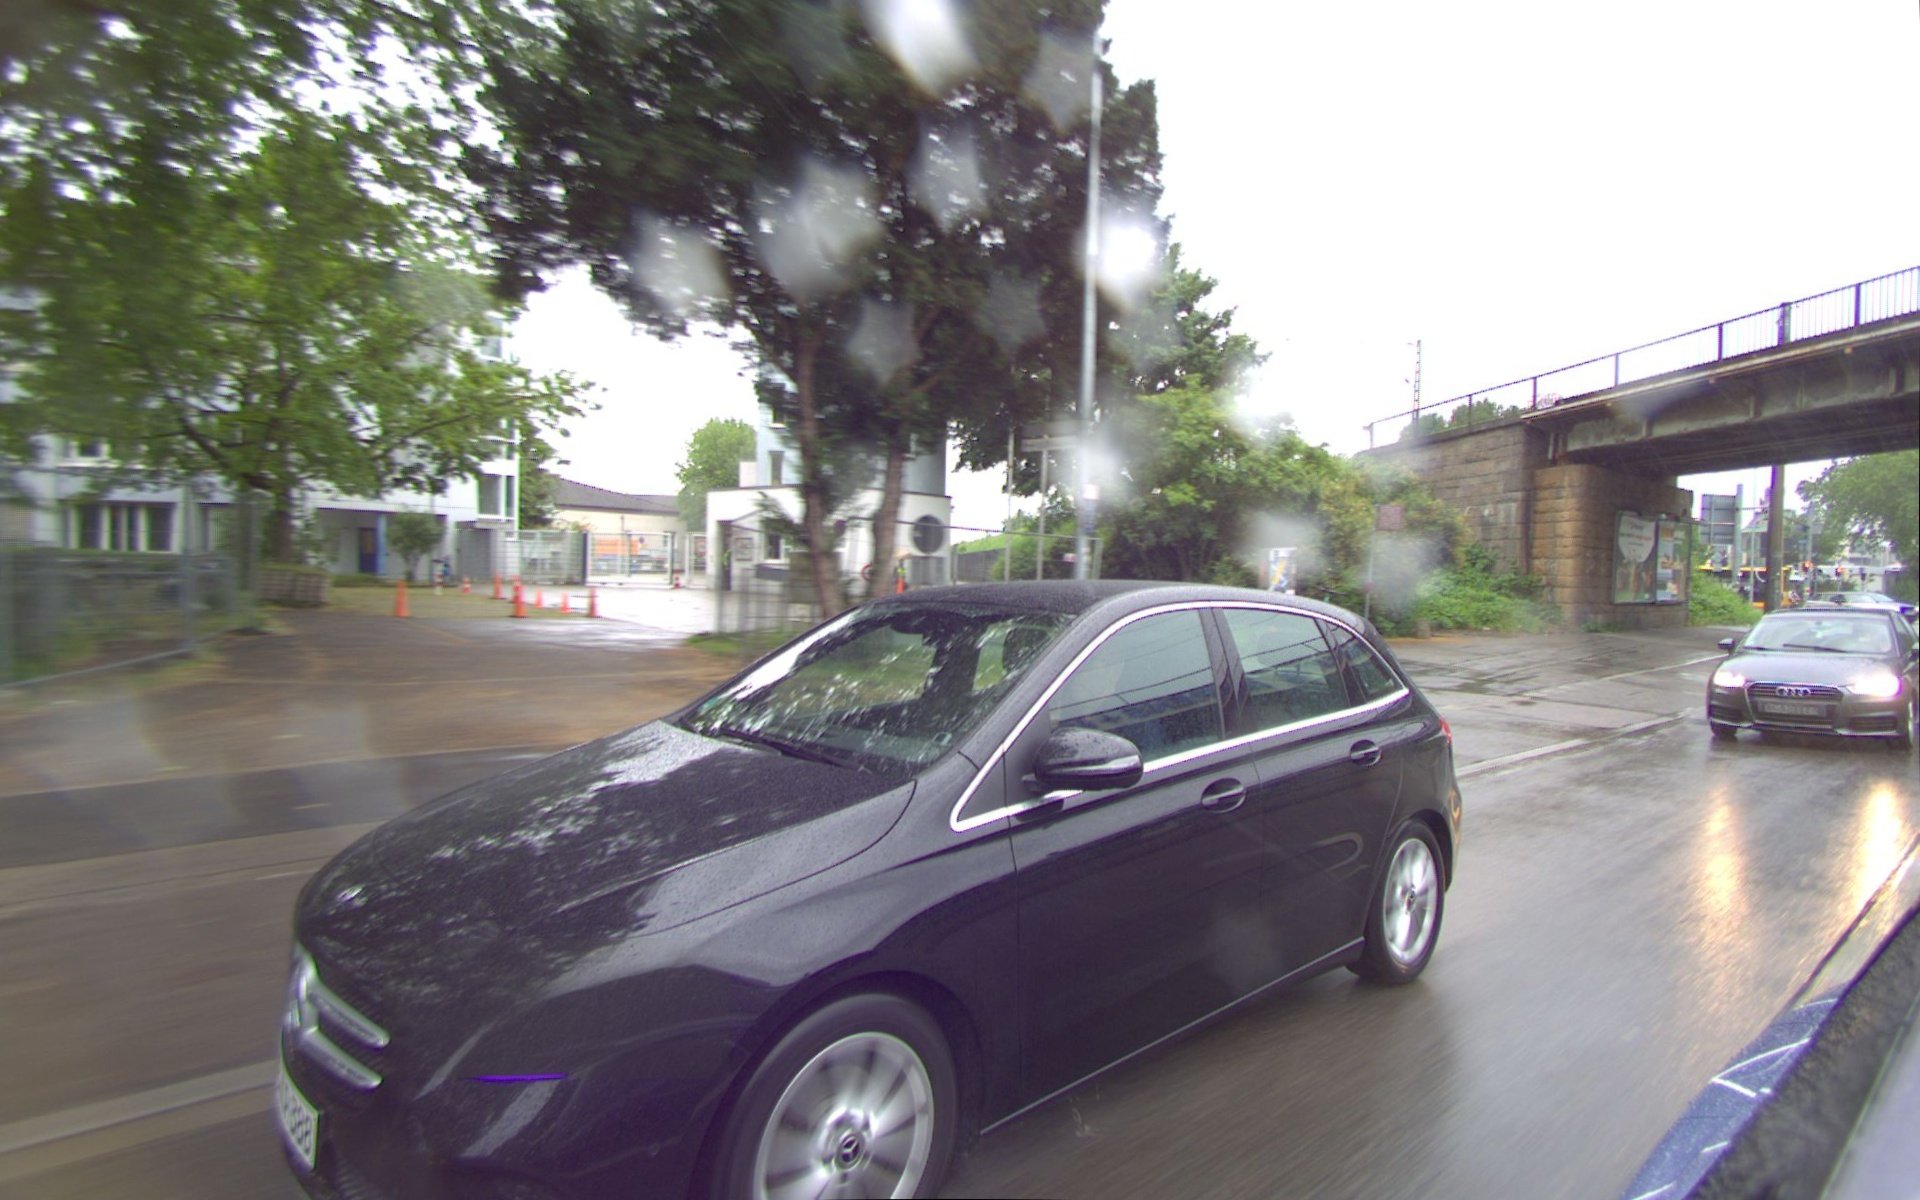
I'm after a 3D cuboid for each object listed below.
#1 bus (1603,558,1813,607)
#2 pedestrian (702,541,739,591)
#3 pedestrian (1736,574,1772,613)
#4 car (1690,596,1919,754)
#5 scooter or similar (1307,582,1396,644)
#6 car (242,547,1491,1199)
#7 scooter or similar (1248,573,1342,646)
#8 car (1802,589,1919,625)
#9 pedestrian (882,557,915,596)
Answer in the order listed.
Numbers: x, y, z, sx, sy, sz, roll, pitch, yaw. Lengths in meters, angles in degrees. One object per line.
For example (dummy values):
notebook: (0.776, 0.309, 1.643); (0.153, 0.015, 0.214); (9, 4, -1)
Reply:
bus: (55.916, -1.453, 76.124); (3.219, 3.308, 12.269); (-1, 3, -42)
pedestrian: (-8.654, -1.241, 36.523); (0.927, 1.757, 0.912); (3, 2, 43)
pedestrian: (37.215, -0.311, 47.440); (0.984, 1.740, 0.822); (1, 2, -13)
car: (9.874, 0.698, 11.360); (3.686, 1.415, 1.840); (-1, 1, -39)
scooter or similar: (7.995, 0.261, 20.664); (1.515, 1.193, 0.775); (1, 4, -23)
car: (0.078, 0.640, 3.517); (4.018, 1.542, 1.873); (-1, 3, -43)
scooter or similar: (6.539, 0.178, 19.810); (1.528, 1.325, 0.711); (1, 6, 1)
car: (40.252, 0.286, 45.108); (1.861, 1.365, 4.005); (1, 3, -4)
pedestrian: (-2.101, -0.808, 34.561); (0.856, 1.311, 0.696); (3, 2, 40)
